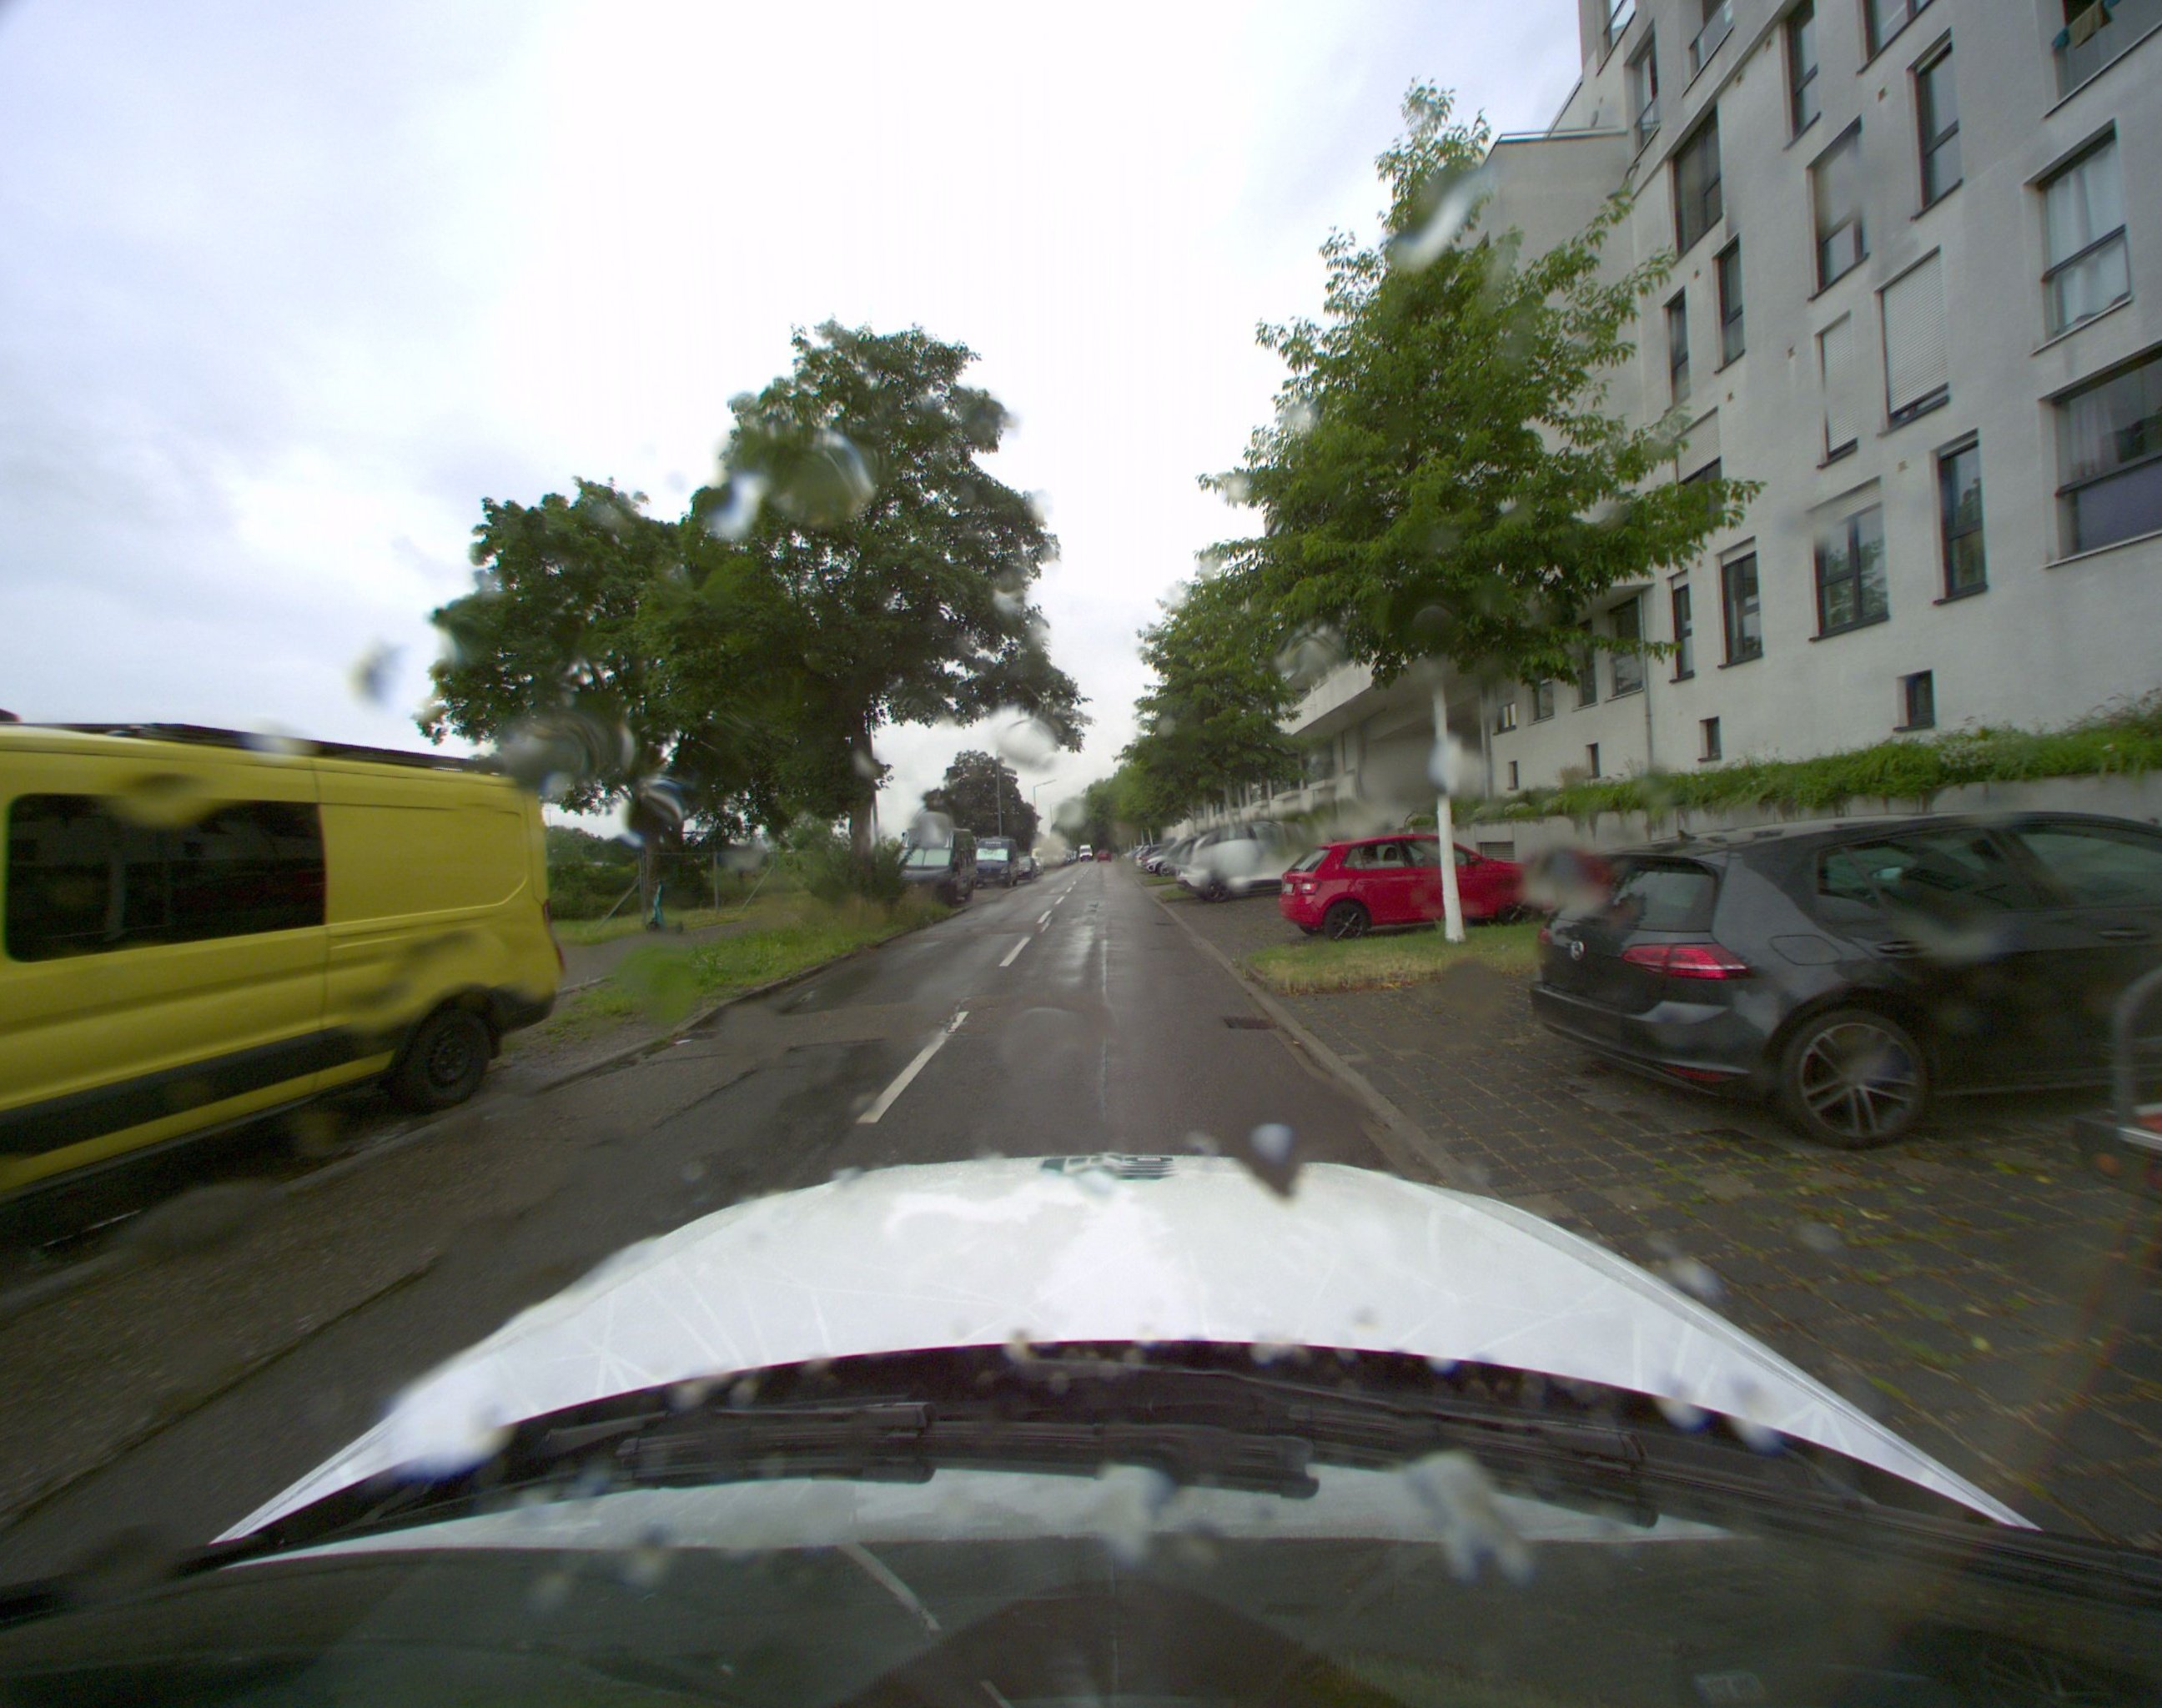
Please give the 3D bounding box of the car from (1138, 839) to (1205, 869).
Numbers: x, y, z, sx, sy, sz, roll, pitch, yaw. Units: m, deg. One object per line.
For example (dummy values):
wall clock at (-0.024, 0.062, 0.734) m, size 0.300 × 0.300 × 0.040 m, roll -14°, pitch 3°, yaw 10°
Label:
car at (5.982, 0.018, 54.077) m, size 4.150 × 1.624 × 1.896 m, roll -5°, pitch 0°, yaw -2°

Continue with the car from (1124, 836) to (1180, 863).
car at (6.175, -0.384, 71.317) m, size 4.605 × 2.019 × 1.857 m, roll -3°, pitch 0°, yaw -2°

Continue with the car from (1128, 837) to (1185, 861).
car at (5.707, -0.365, 61.915) m, size 4.020 × 1.499 × 1.630 m, roll -5°, pitch 0°, yaw -2°

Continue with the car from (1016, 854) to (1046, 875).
car at (-3.835, 0.780, 63.023) m, size 1.880 × 1.525 × 5.110 m, roll -1°, pitch 0°, yaw 1°

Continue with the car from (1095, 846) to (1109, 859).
car at (2.902, -0.174, 110.913) m, size 1.750 × 1.706 × 4.001 m, roll -4°, pitch 0°, yaw 1°

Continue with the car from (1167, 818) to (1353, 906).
car at (4.815, 0.214, 22.376) m, size 4.527 × 1.685 × 1.885 m, roll -8°, pitch 0°, yaw -2°

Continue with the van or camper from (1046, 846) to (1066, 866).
van or camper at (-3.218, 0.248, 106.551) m, size 2.181 × 2.461 × 6.380 m, roll -2°, pitch 0°, yaw 2°

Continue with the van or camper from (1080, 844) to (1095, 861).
van or camper at (1.039, -0.277, 132.037) m, size 1.986 × 2.497 × 7.182 m, roll -4°, pitch 0°, yaw 2°

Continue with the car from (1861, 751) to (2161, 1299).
car at (4.993, 0.295, 2.238) m, size 3.972 × 1.555 × 1.635 m, roll -6°, pitch 0°, yaw 1°

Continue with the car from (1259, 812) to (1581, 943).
car at (4.895, 0.341, 12.211) m, size 3.974 × 1.451 × 1.821 m, roll -5°, pitch -1°, yaw 0°

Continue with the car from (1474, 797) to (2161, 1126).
car at (4.649, 0.486, 4.732) m, size 3.945 × 1.474 × 1.591 m, roll -2°, pitch 0°, yaw -1°

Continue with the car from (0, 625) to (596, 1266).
car at (-5.592, 0.392, 4.249) m, size 2.182 × 2.694 × 6.086 m, roll -1°, pitch 0°, yaw 3°

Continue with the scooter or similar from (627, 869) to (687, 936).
scooter or similar at (-9.106, 1.017, 17.524) m, size 0.433 × 1.339 × 1.412 m, roll -3°, pitch 0°, yaw 2°

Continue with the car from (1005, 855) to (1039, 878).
car at (-3.998, 0.838, 56.151) m, size 1.767 × 1.502 × 4.830 m, roll -1°, pitch 0°, yaw 2°

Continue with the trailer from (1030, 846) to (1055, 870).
trailer at (-3.700, 0.370, 78.870) m, size 2.052 × 2.218 × 5.794 m, roll -2°, pitch 0°, yaw 0°

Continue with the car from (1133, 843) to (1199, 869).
car at (5.868, 0.123, 56.501) m, size 4.286 × 1.428 × 1.636 m, roll -5°, pitch 0°, yaw -1°

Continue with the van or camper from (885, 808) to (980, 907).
van or camper at (-5.054, 0.135, 28.755) m, size 2.087 × 3.094 × 6.424 m, roll -1°, pitch 0°, yaw 1°

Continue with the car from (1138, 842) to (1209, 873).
car at (5.517, 0.200, 48.895) m, size 3.973 × 1.509 × 1.685 m, roll -5°, pitch 1°, yaw 1°

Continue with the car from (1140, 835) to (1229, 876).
car at (5.579, 0.082, 44.453) m, size 4.462 × 1.686 × 1.935 m, roll -6°, pitch 1°, yaw -1°

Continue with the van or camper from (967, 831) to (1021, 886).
van or camper at (-4.632, 0.273, 44.399) m, size 2.088 × 2.715 × 7.573 m, roll -1°, pitch 0°, yaw 0°

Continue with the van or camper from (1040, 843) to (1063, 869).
van or camper at (-3.272, 0.208, 91.502) m, size 1.986 × 2.762 × 7.902 m, roll -2°, pitch 0°, yaw 2°

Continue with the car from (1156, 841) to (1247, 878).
car at (5.726, 0.255, 39.116) m, size 3.977 × 1.495 × 1.935 m, roll -3°, pitch 1°, yaw -2°
